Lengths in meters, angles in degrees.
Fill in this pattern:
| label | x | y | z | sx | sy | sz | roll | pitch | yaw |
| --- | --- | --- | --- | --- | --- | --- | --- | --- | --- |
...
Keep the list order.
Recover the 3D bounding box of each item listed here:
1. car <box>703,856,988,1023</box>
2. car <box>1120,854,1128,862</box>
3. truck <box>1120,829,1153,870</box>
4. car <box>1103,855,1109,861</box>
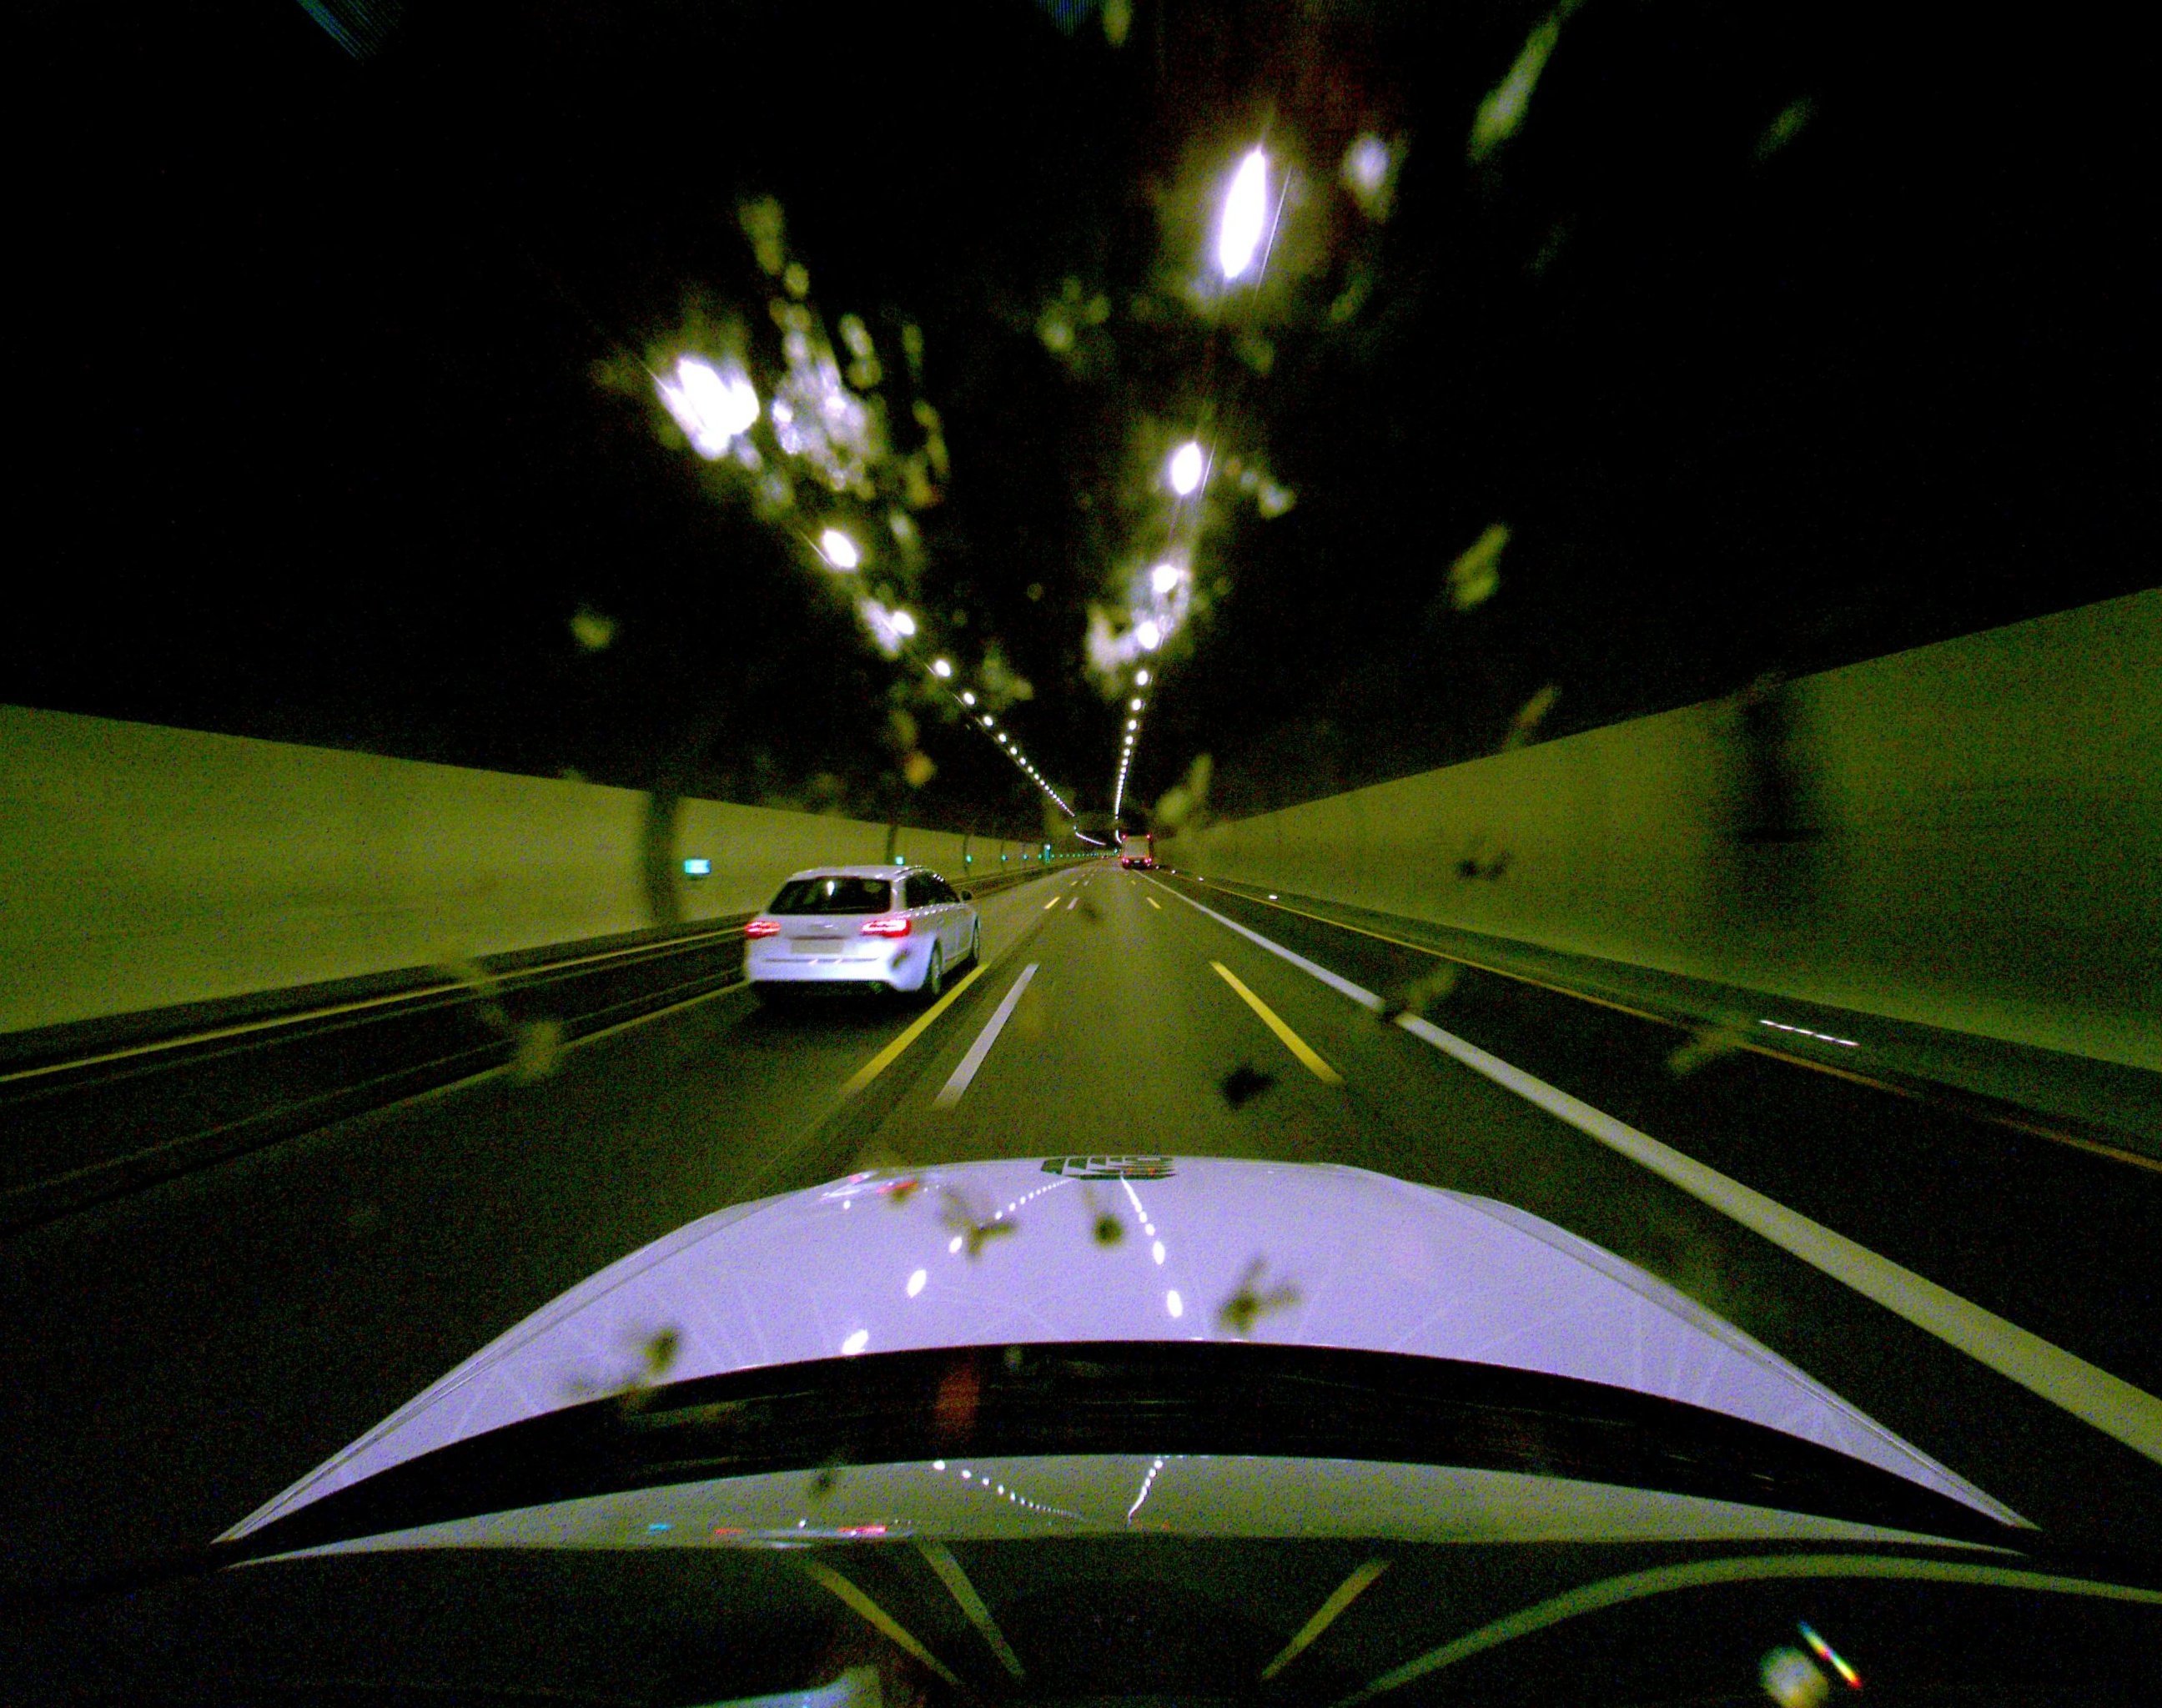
| label | x | y | z | sx | sy | sz | roll | pitch | yaw |
| --- | --- | --- | --- | --- | --- | --- | --- | --- | --- |
| car | -2.426 | 0.796 | 9.871 | 1.896 | 1.485 | 4.944 | -1 | 0 | 1 |
| car | 9.400 | 0.908 | 176.713 | 1.732 | 1.461 | 3.964 | -3 | 1 | 3 |
| truck | 5.855 | -0.396 | 87.194 | 3.080 | 3.918 | 10.373 | -3 | -1 | 2 |
| car | 7.083 | 1.034 | 231.294 | 1.752 | 1.461 | 4.121 | -3 | 1 | 2 |
